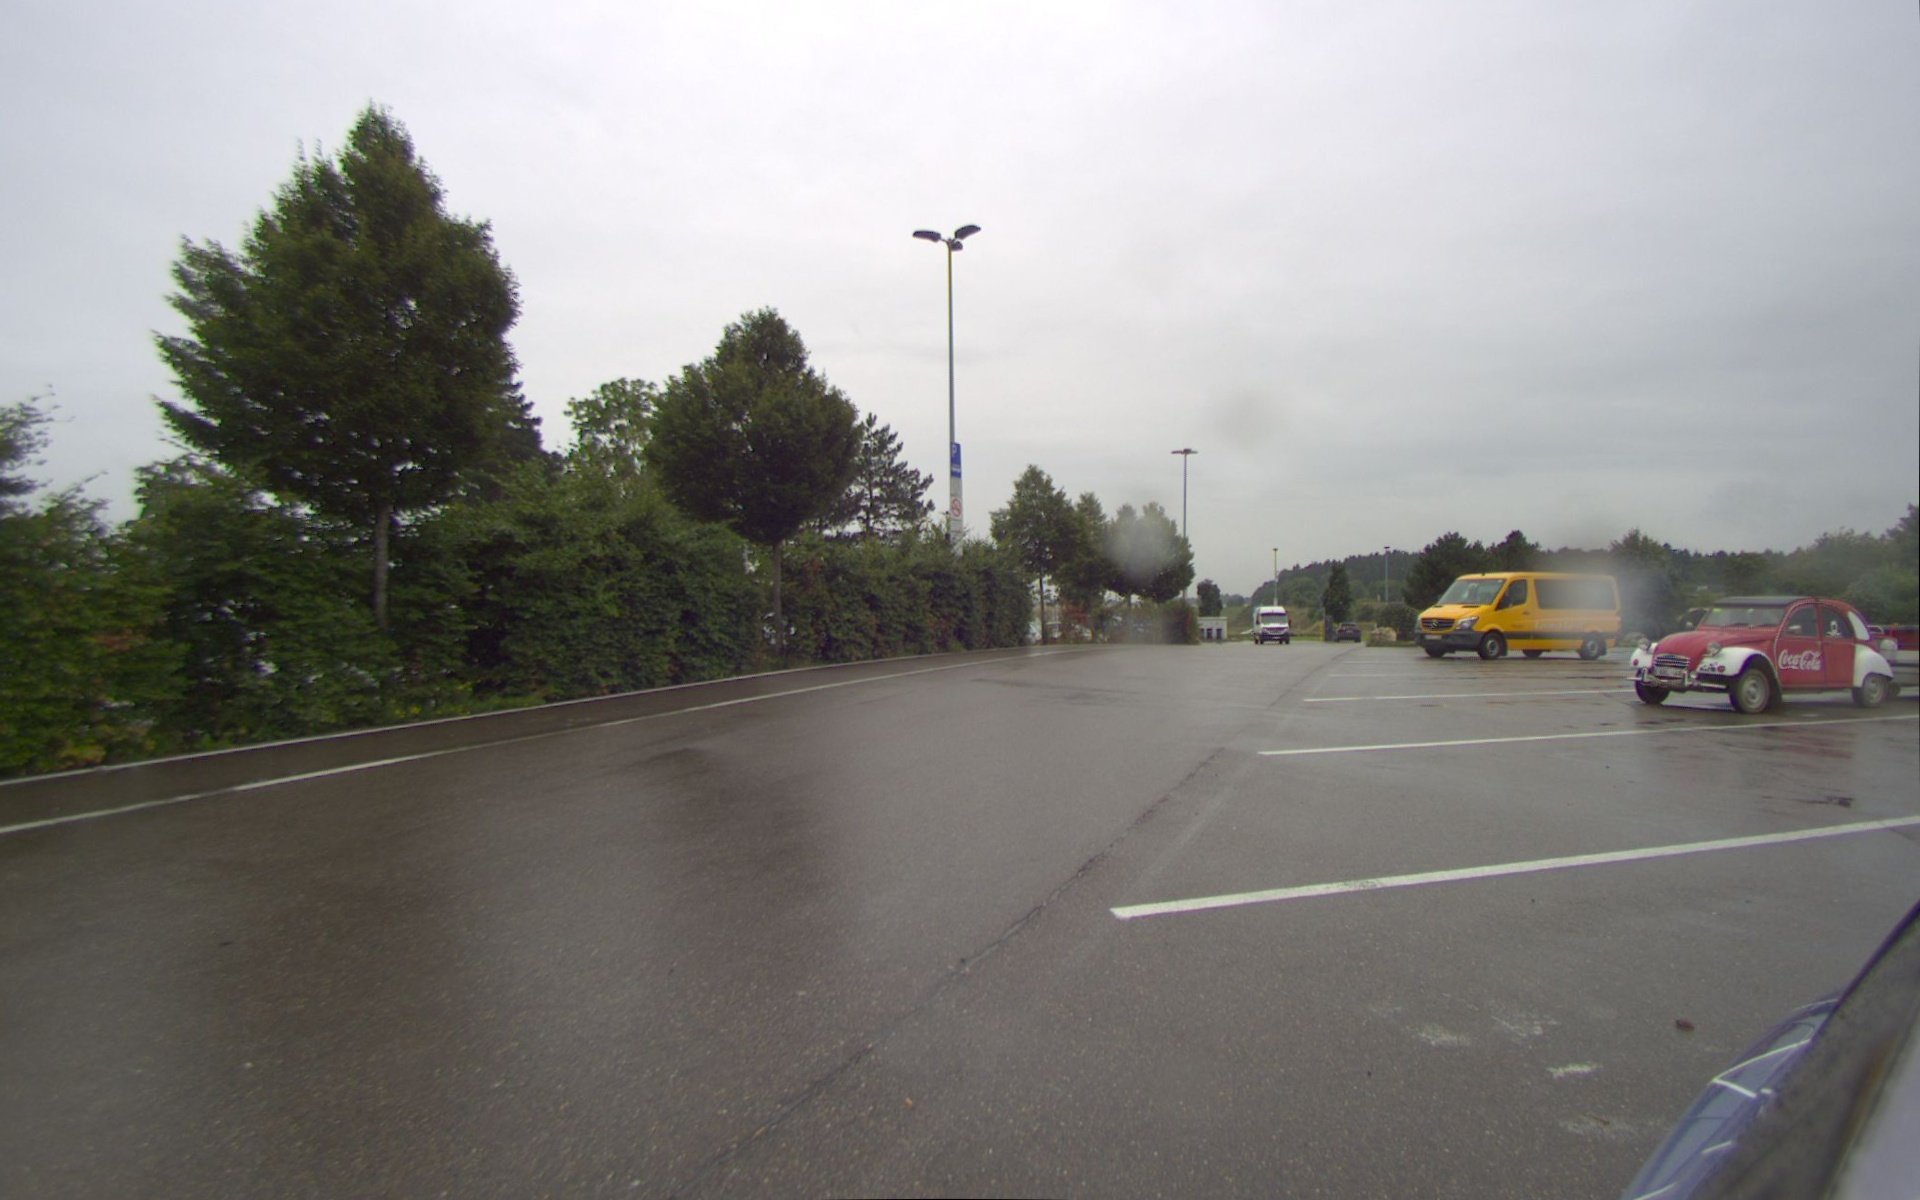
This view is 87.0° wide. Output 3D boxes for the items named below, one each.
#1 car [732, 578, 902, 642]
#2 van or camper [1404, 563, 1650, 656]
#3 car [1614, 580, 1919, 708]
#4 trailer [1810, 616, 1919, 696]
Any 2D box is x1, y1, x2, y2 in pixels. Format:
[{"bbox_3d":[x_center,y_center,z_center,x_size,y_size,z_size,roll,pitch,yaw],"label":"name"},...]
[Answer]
[{"bbox_3d":[-3.669,0.217,25.872,4.052,1.516,1.751,0,1,26],"label":"car"},{"bbox_3d":[15.158,0.226,27.031,6.283,2.275,2.139,0,1,-20],"label":"van or camper"},{"bbox_3d":[11.180,0.540,13.844,3.971,1.575,1.553,0,0,-17],"label":"car"},{"bbox_3d":[14.498,0.806,14.972,2.966,1.081,1.592,1,0,-17],"label":"trailer"}]
